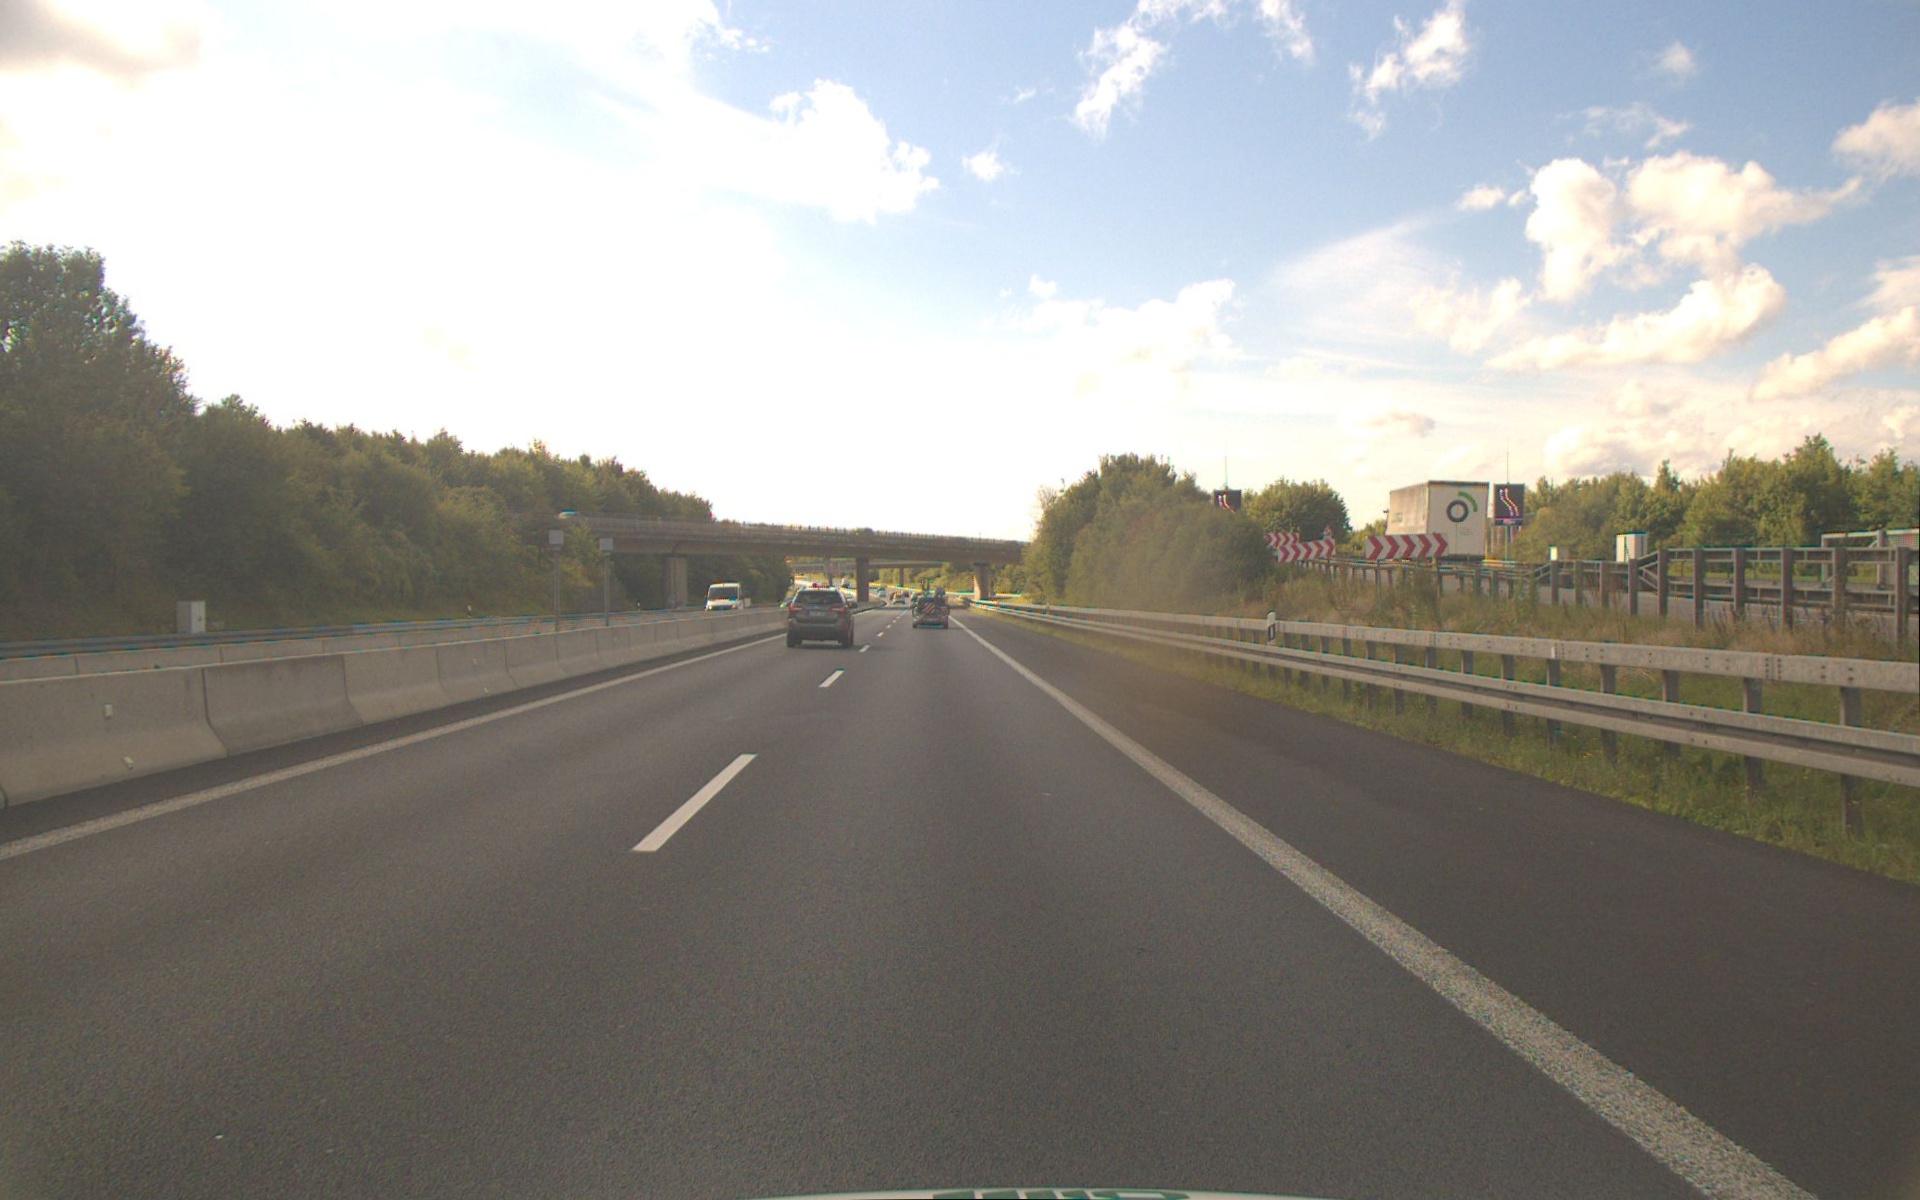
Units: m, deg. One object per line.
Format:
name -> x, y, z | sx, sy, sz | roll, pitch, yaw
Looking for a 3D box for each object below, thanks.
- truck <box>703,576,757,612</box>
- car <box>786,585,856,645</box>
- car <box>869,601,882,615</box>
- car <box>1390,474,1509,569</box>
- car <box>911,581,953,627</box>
truck -> -13.757, -0.353, 99.308 | 2.328, 2.049, 7.434 | -1, 0, -1
car -> -4.058, 0.422, 48.900 | 1.714, 1.659, 3.609 | -1, 0, 0
car -> -13.098, 1.186, 256.260 | 1.953, 2.049, 3.999 | -1, 0, -2
car -> 21.520, -3.356, 73.215 | 3.501, 3.741, 7.553 | -1, 0, 5
car -> -1.384, 0.186, 81.221 | 1.953, 2.117, 3.999 | -1, 0, -1
